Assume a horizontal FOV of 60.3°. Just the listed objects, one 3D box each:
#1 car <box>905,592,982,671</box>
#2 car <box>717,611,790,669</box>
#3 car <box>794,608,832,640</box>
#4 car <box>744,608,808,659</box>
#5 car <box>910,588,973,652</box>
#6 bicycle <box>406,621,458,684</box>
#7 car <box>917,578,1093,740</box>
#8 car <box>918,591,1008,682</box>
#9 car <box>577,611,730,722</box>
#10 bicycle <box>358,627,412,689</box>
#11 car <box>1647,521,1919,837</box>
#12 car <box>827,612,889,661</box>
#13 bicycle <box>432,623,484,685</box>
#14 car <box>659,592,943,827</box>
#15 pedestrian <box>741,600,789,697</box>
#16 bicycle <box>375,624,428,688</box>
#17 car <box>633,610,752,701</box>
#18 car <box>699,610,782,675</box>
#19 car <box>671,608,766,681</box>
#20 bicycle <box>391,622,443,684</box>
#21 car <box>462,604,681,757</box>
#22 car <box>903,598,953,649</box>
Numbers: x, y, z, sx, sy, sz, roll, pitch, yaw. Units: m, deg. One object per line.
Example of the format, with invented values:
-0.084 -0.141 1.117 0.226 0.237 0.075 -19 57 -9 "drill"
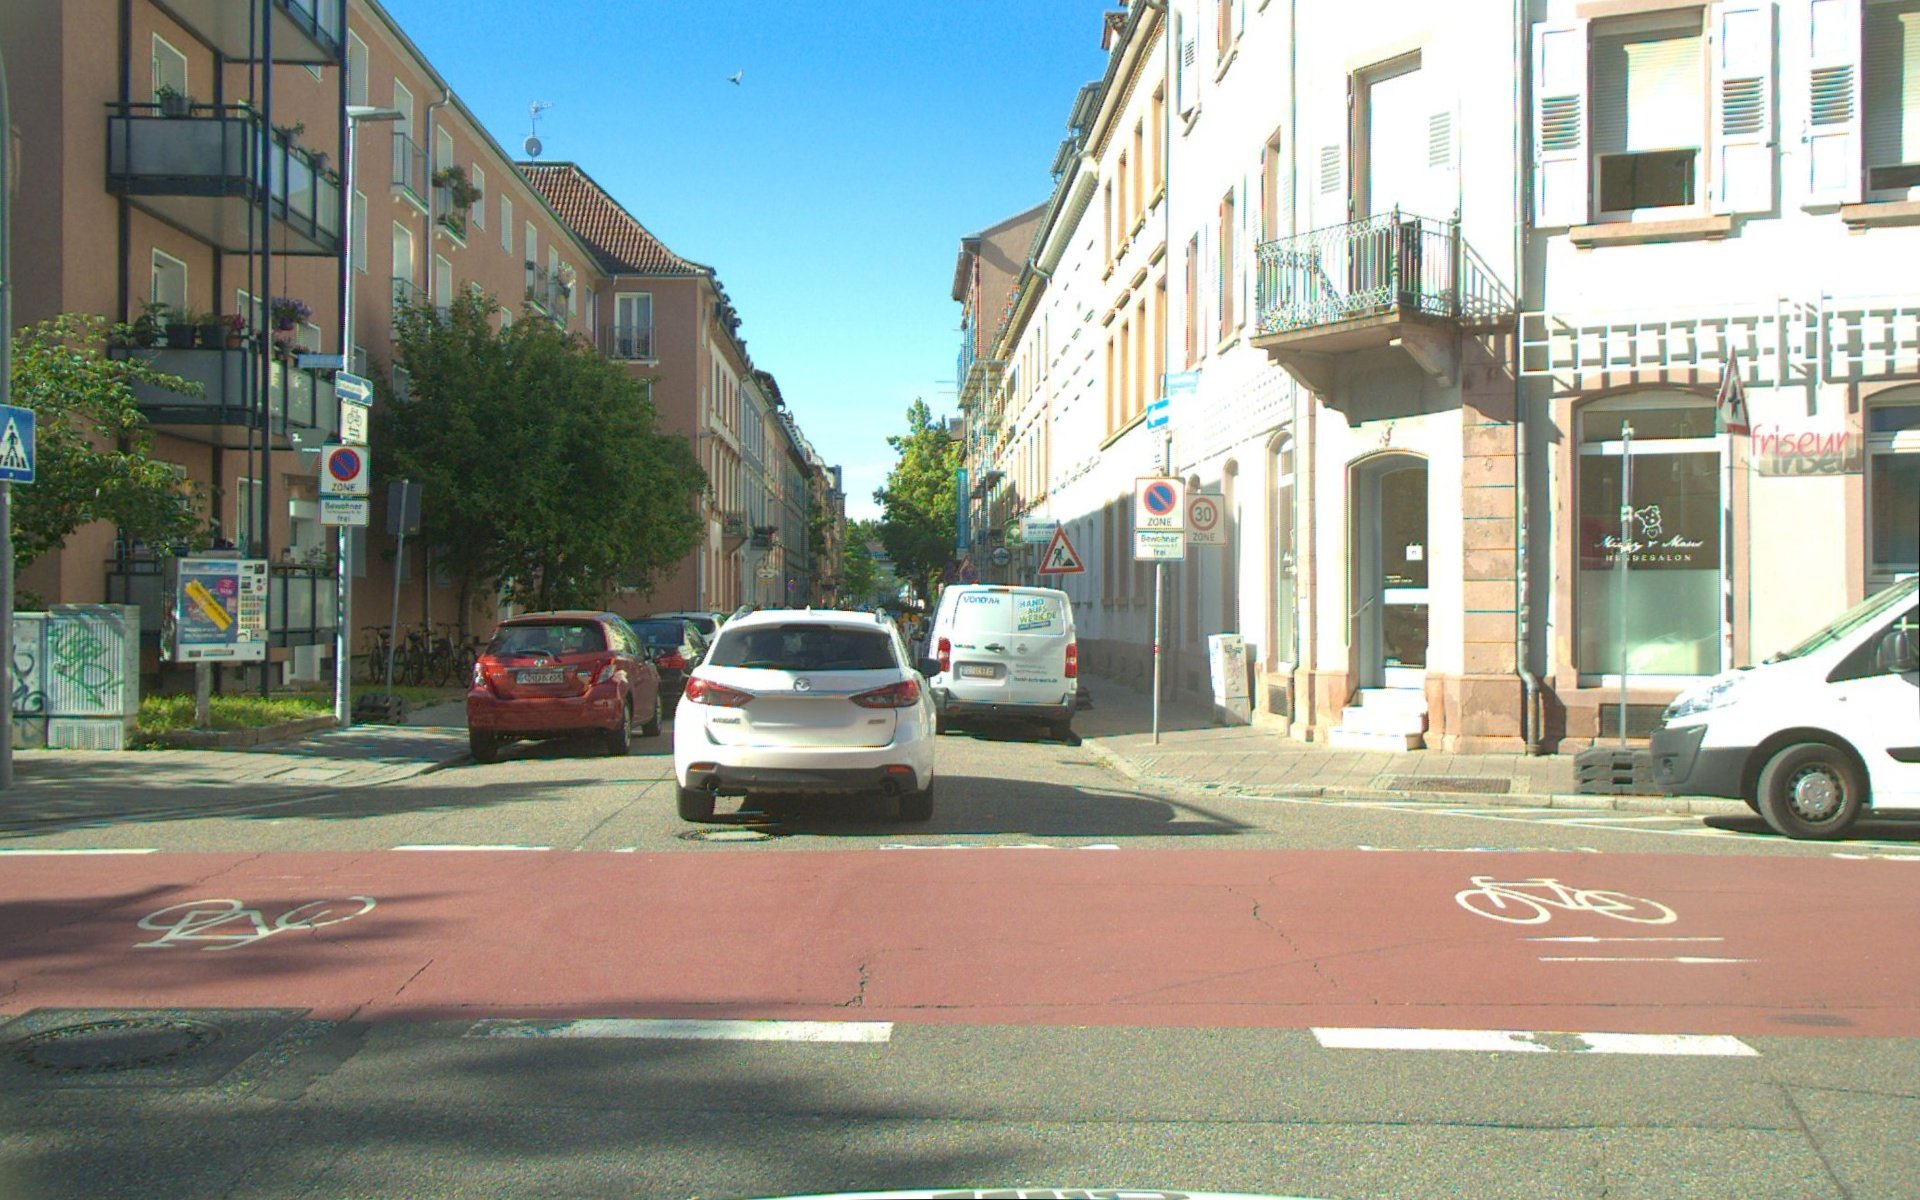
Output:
-0.442 0.768 41.688 1.856 1.892 3.993 0 0 -1 "car"
-5.663 1.066 45.628 1.620 1.526 3.761 0 0 -1 "car"
-7.260 1.179 81.729 1.620 1.526 3.761 0 0 -1 "car"
-5.665 1.013 51.212 1.620 1.526 3.761 0 0 -1 "car"
-0.609 0.639 53.675 1.856 1.891 3.993 -3 0 -1 "car"
-9.507 0.937 29.767 1.193 1.090 0.252 0 -1 38 "bicycle"
0.483 0.732 22.507 1.857 1.892 5.009 2 0 -4 "car"
0.018 0.771 36.432 1.856 1.892 3.993 0 0 -1 "car"
-4.495 0.924 24.802 1.620 1.526 4.078 0 0 -1 "car"
-10.081 1.015 28.993 1.193 1.053 0.290 0 -1 38 "bicycle"
7.228 0.499 10.981 4.907 1.980 2.050 0 -1 23 "car"
-3.077 1.082 50.530 1.725 1.435 4.326 0 0 -1 "car"
-9.068 0.967 29.844 1.196 1.090 0.252 0 -1 38 "bicycle"
-1.053 0.741 12.458 1.794 1.483 3.960 0 -1 -2 "car"
-3.358 0.826 28.424 0.720 1.642 0.813 0 -1 -14 "pedestrian"
-9.886 0.980 29.252 1.193 1.091 0.265 0 -1 38 "bicycle"
-4.755 0.955 29.811 1.620 1.526 3.761 0 0 -1 "car"
-5.389 1.011 40.991 1.620 1.526 3.761 0 0 -1 "car"
-5.268 0.946 36.423 1.620 1.526 3.761 0 0 -1 "car"
-9.690 0.936 29.519 1.193 1.089 0.252 0 -1 38 "bicycle"
-4.287 0.831 18.797 1.651 1.526 3.805 -1 0 -1 "car"
-1.234 0.902 63.843 1.856 1.892 3.993 0 0 -1 "car"
